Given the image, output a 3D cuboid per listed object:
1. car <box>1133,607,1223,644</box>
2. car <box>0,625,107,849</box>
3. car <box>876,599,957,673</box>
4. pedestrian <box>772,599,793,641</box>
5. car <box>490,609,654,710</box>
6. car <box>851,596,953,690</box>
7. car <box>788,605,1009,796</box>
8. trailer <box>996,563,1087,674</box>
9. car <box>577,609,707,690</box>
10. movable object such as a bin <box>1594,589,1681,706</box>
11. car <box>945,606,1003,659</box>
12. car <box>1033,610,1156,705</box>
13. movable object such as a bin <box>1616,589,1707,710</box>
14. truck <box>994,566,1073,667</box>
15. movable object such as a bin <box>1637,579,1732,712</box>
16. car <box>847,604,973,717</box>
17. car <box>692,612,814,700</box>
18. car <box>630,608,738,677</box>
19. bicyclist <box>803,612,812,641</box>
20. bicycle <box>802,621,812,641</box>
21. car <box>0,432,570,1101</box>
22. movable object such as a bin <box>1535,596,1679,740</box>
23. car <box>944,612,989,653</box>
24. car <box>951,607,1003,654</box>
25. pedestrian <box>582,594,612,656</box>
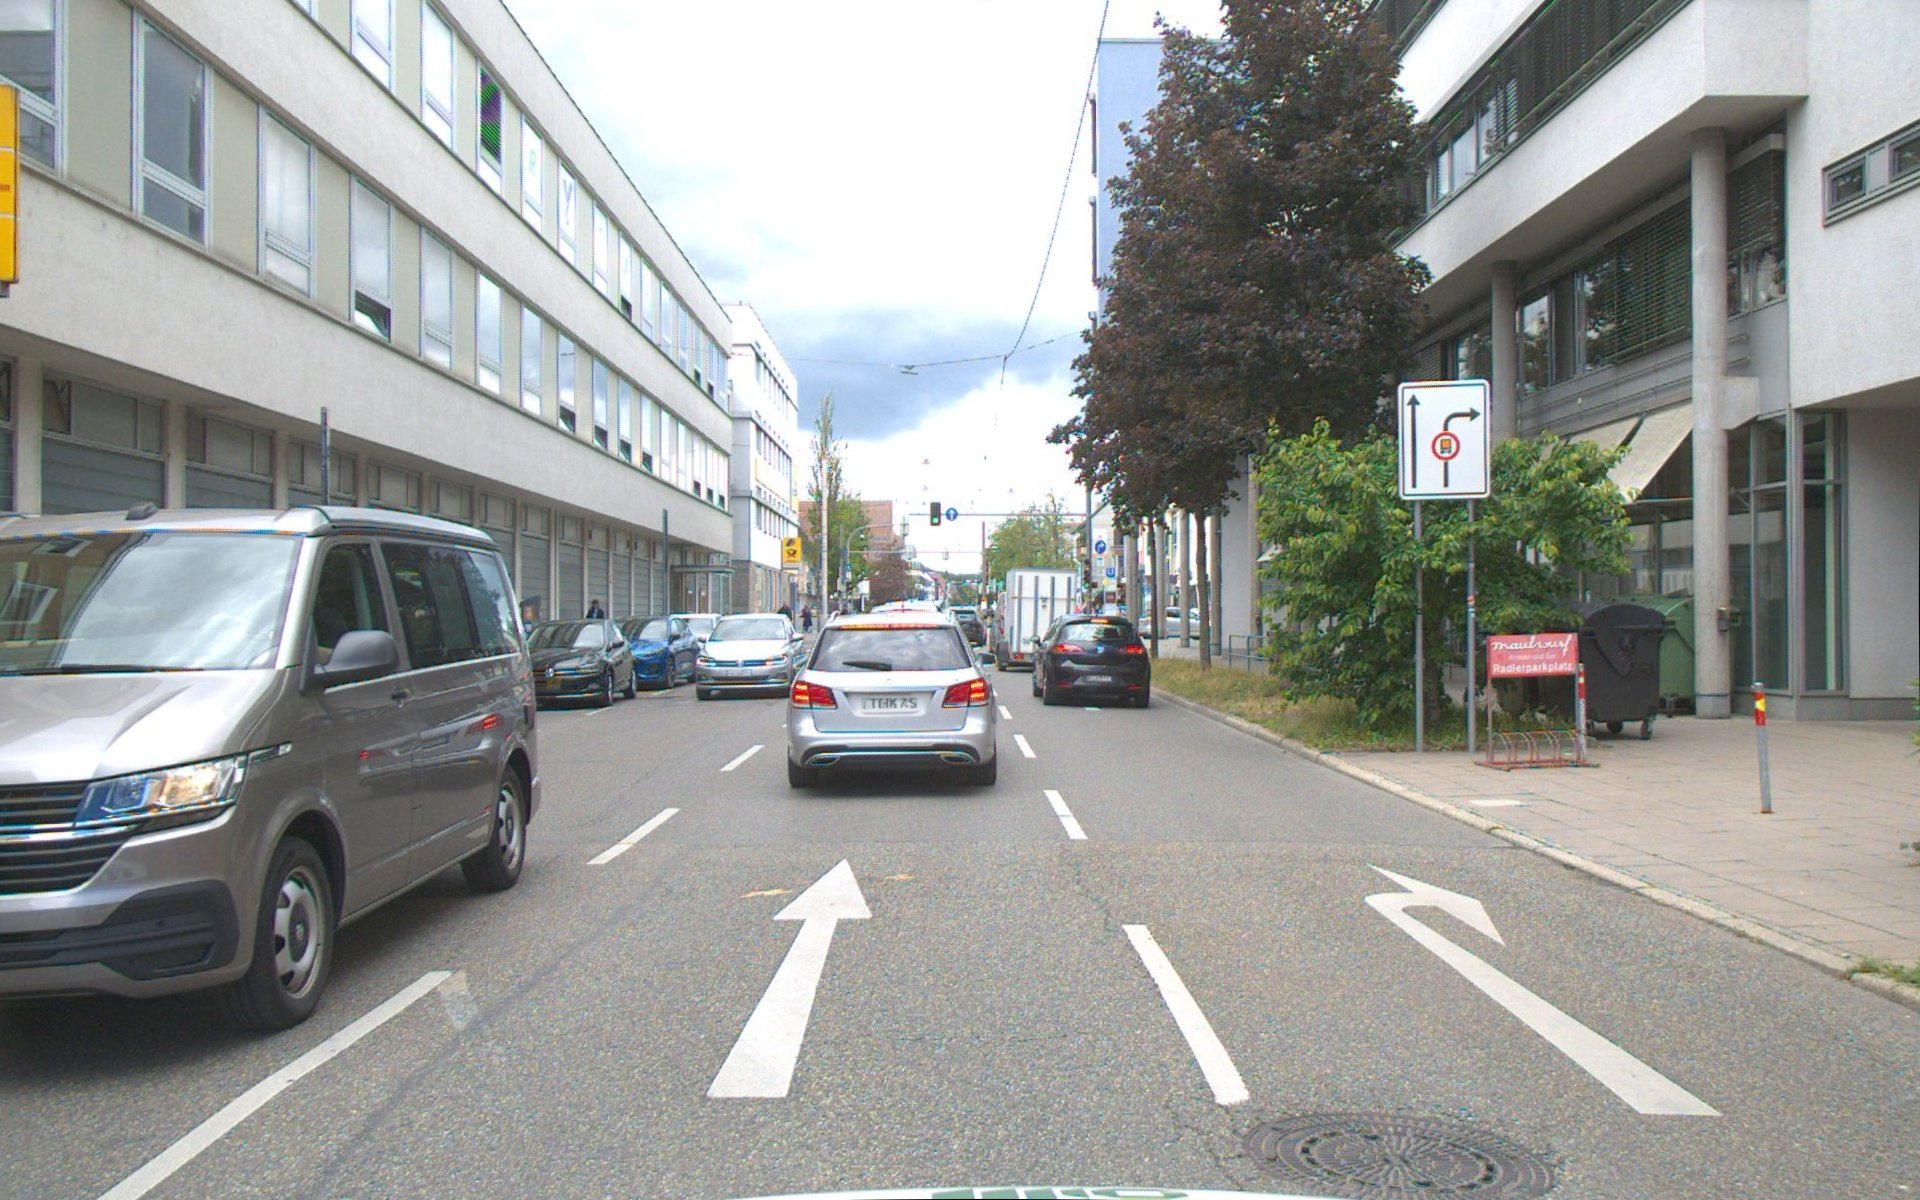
[{"bbox_3d":[10.574,1.237,80.223,3.919,1.680,1.838,1,-1,-14],"label":"car"},{"bbox_3d":[-7.847,0.879,10.412,4.352,1.389,1.768,0,0,-30],"label":"car"},{"bbox_3d":[-1.003,0.810,38.776,1.767,1.629,3.736,1,0,-1],"label":"car"},{"bbox_3d":[-8.206,0.916,76.624,0.899,1.901,0.783,0,-1,-1],"label":"pedestrian"},{"bbox_3d":[-6.570,0.966,28.445,1.874,1.543,4.174,-2,0,-1],"label":"car"},{"bbox_3d":[-1.057,0.771,30.966,1.767,1.629,3.736,1,0,-1],"label":"car"},{"bbox_3d":[-0.525,0.815,15.126,1.767,1.519,3.736,0,0,-1],"label":"car"},{"bbox_3d":[2.017,0.443,42.280,1.953,2.653,5.348,0,0,-1],"label":"trailer"},{"bbox_3d":[-6.477,0.970,34.144,1.953,1.543,4.174,0,0,-1],"label":"car"},{"bbox_3d":[9.177,0.642,22.423,0.804,1.530,0.732,-3,-2,0],"label":"movable object such as a bin"},{"bbox_3d":[0.418,1.009,53.112,1.767,1.629,3.736,1,0,-1],"label":"car"},{"bbox_3d":[2.167,0.905,27.608,1.729,1.458,3.828,0,0,0],"label":"car"},{"bbox_3d":[9.177,0.647,21.666,0.804,1.516,0.732,-3,-2,0],"label":"movable object such as a bin"},{"bbox_3d":[1.961,0.446,45.088,1.953,2.653,3.259,0,0,-1],"label":"truck"},{"bbox_3d":[9.152,0.574,20.911,0.804,1.617,0.732,-3,-2,0],"label":"movable object such as a bin"},{"bbox_3d":[-0.738,0.865,25.206,1.767,1.580,3.736,0,0,-1],"label":"car"},{"bbox_3d":[-3.701,0.958,30.180,1.733,1.438,4.174,-1,0,-1],"label":"car"},{"bbox_3d":[-6.581,0.981,39.847,1.953,1.543,4.174,0,0,-1],"label":"car"},{"bbox_3d":[-8.972,1.557,97.178,0.436,1.727,0.555,1,-1,-1],"label":"bicyclist"},{"bbox_3d":[-8.981,1.822,97.109,0.436,1.187,1.920,1,-1,-1],"label":"bicycle"},{"bbox_3d":[-3.324,0.541,7.556,1.953,2.049,4.901,-2,0,-1],"label":"car"},{"bbox_3d":[7.108,0.725,18.257,0.924,1.496,1.445,-2,-1,-3],"label":"movable object such as a bin"},{"bbox_3d":[0.229,1.349,68.957,1.767,1.629,3.736,1,0,-1],"label":"car"},{"bbox_3d":[0.574,1.097,60.301,1.767,1.629,3.736,1,0,-1],"label":"car"},{"bbox_3d":[-9.678,0.660,44.122,0.642,1.651,0.681,0,0,0],"label":"pedestrian"}]
